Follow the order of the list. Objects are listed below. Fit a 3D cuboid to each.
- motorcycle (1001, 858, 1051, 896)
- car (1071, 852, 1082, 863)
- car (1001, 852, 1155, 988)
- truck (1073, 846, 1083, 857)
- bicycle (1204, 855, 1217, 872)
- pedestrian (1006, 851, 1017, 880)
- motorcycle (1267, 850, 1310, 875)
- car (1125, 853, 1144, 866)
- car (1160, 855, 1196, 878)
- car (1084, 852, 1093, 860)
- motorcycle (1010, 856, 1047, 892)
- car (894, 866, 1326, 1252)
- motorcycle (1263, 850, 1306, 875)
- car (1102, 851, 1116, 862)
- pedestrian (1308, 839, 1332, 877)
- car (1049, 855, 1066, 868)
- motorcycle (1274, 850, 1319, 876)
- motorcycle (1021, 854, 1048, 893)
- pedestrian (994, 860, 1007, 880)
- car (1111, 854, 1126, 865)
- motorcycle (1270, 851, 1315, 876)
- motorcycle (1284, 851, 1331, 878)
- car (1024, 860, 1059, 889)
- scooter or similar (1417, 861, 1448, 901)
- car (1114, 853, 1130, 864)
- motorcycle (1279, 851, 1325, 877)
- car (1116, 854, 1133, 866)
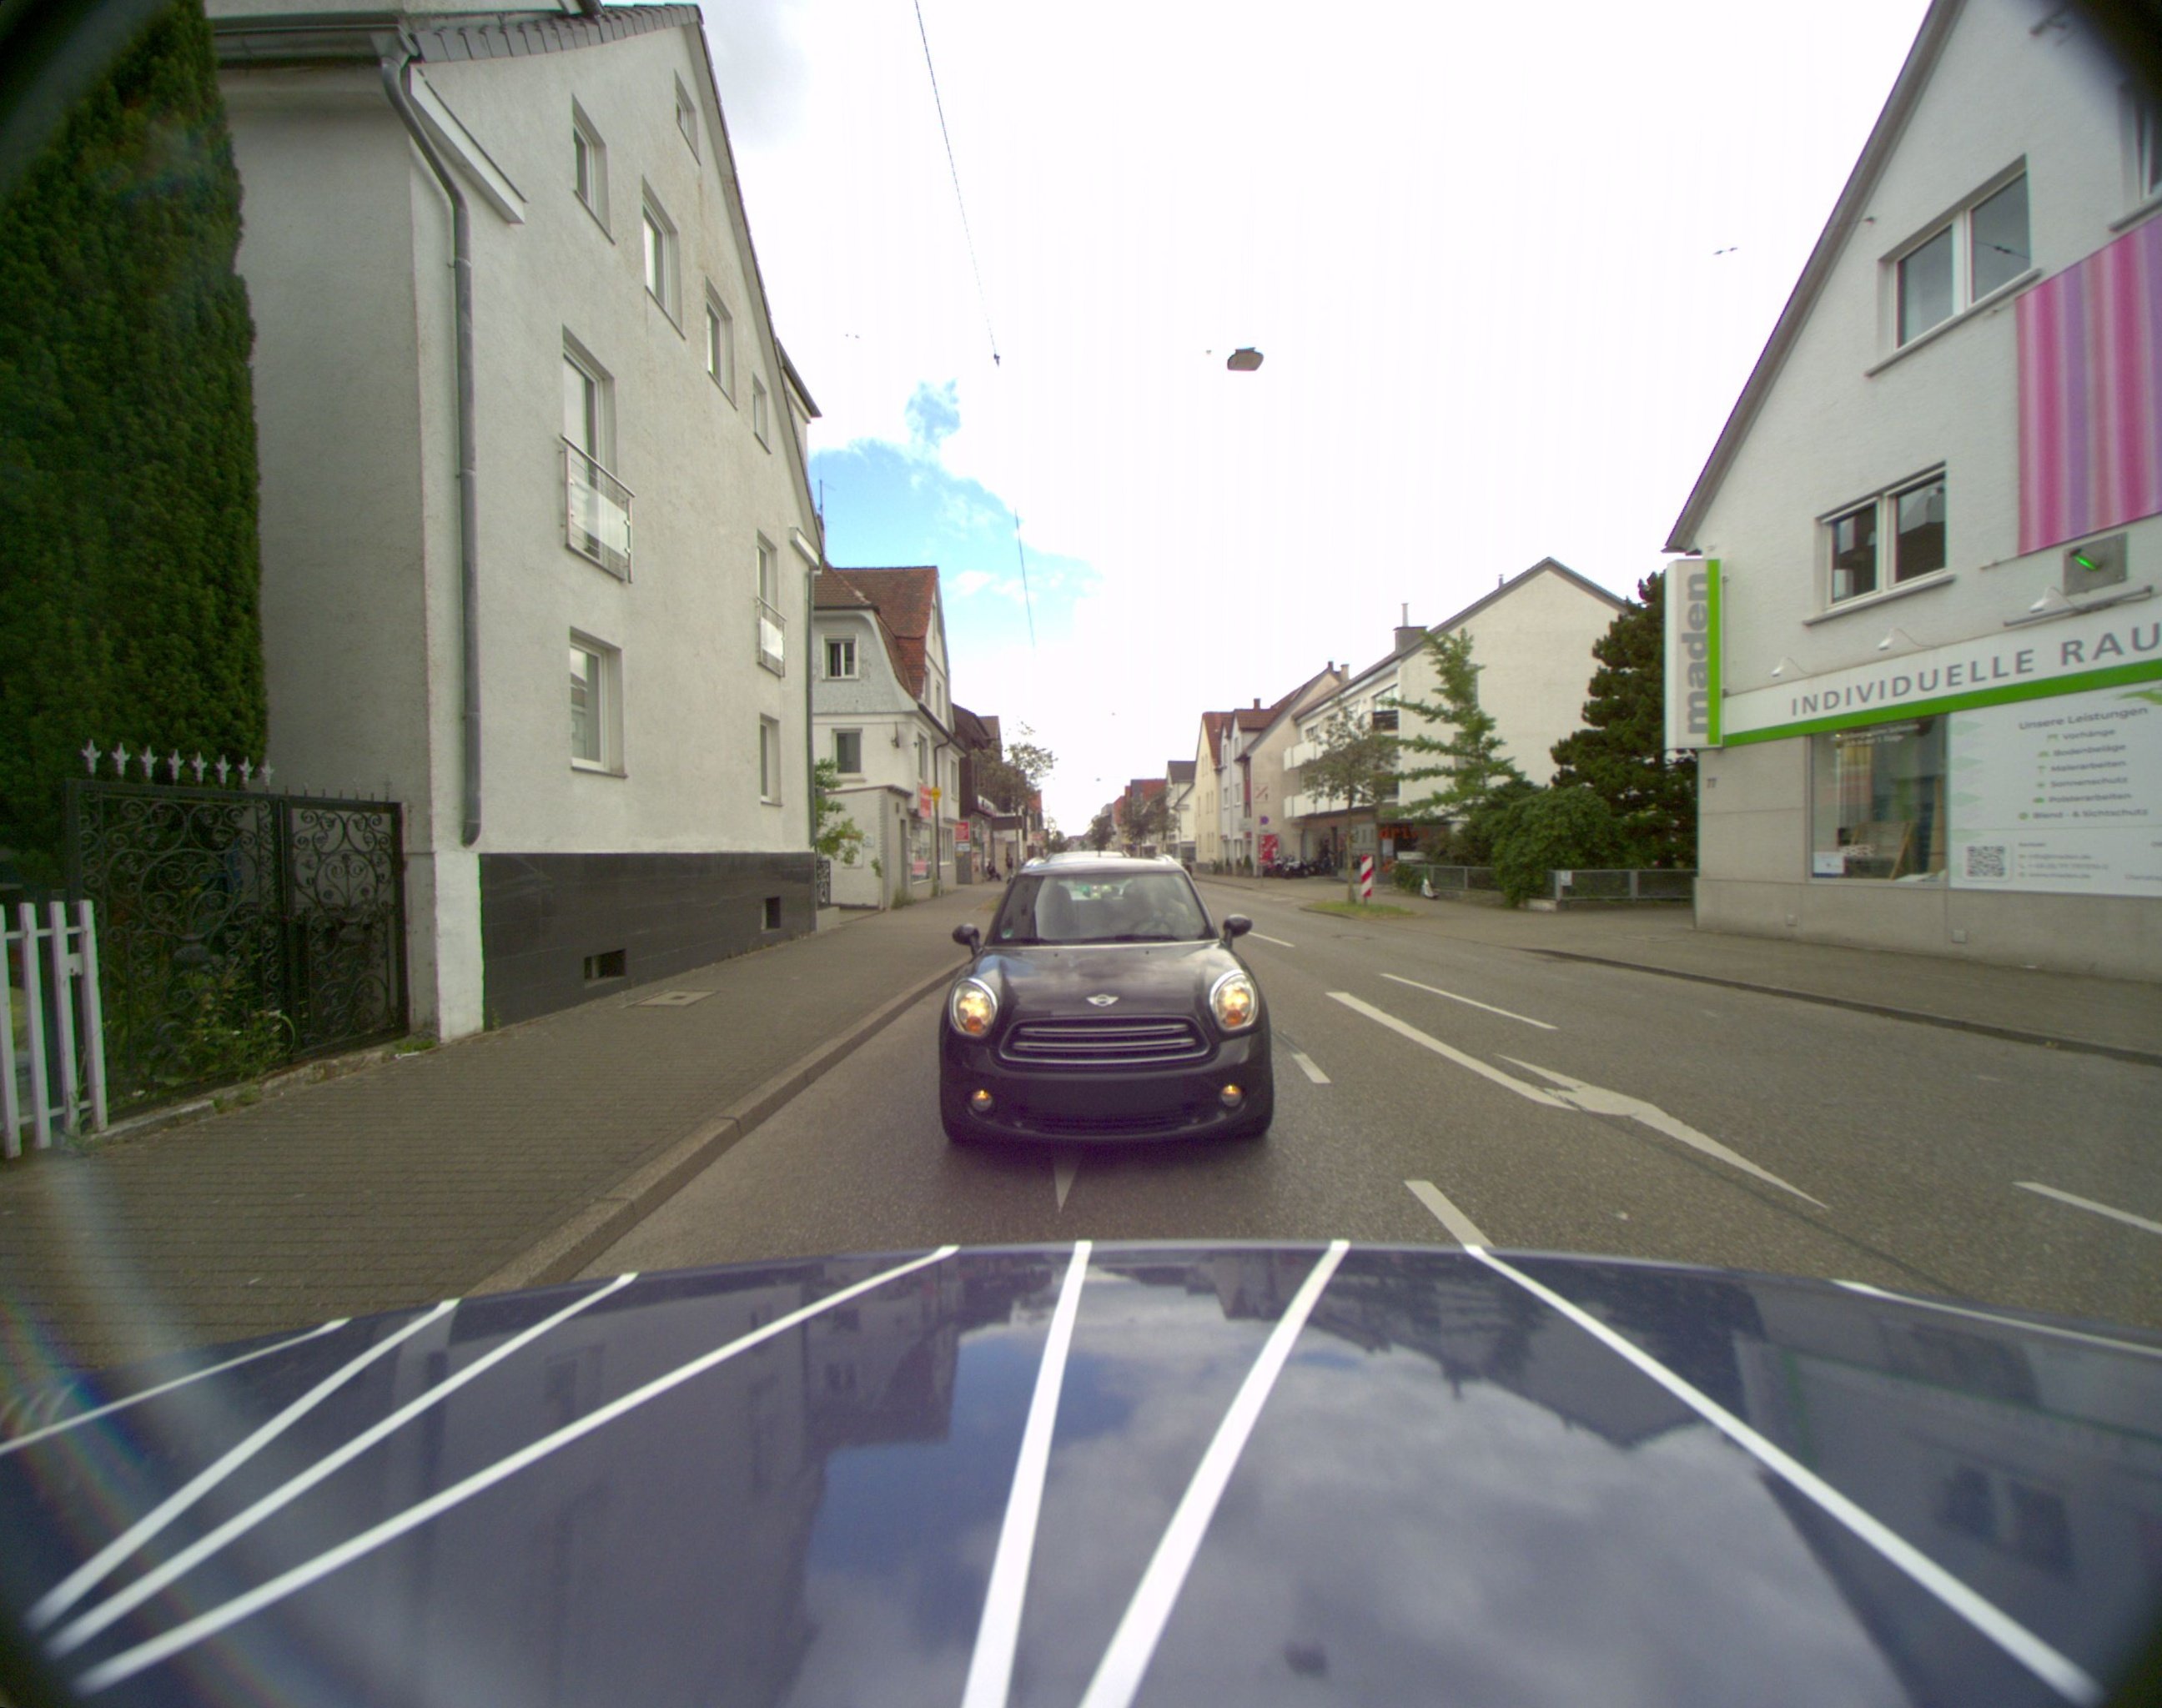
[{"bbox_3d":[-2.130,0.881,29.327,0.777,1.373,2.237,-2,1,-37],"label":"motorcycle"},{"bbox_3d":[-0.817,0.576,146.670,2.059,2.002,4.186,-2,0,-1],"label":"car"},{"bbox_3d":[-0.018,0.807,11.766,1.855,1.615,4.736,-2,0,0],"label":"car"},{"bbox_3d":[-0.874,-0.651,219.282,2.800,3.020,8.250,-2,0,0],"label":"truck"},{"bbox_3d":[9.422,0.682,55.477,0.515,1.189,2.023,-2,1,-1],"label":"bicycle"},{"bbox_3d":[-4.220,0.682,46.010,0.644,1.730,0.742,0,1,-6],"label":"pedestrian"},{"bbox_3d":[11.783,0.495,43.240,2.231,1.258,0.613,-4,1,-2],"label":"motorcycle"},{"bbox_3d":[6.024,0.633,86.511,1.716,1.389,3.899,-2,0,-2],"label":"car"},{"bbox_3d":[6.449,0.797,51.133,1.792,1.409,4.340,0,0,-1],"label":"car"},{"bbox_3d":[1.871,0.447,193.004,1.855,1.932,4.489,1,0,-2],"label":"car"},{"bbox_3d":[-2.248,0.832,32.931,0.648,1.432,2.472,-1,1,19],"label":"motorcycle"},{"bbox_3d":[0.057,0.929,5.700,1.855,1.527,4.735,-2,0,-2],"label":"car"},{"bbox_3d":[11.760,0.491,43.977,2.231,1.258,0.613,-4,1,-2],"label":"motorcycle"},{"bbox_3d":[4.609,0.367,124.517,1.999,1.772,3.999,-2,0,0],"label":"car"},{"bbox_3d":[12.189,0.196,38.794,0.753,1.838,1.019,-5,1,0],"label":"pedestrian"},{"bbox_3d":[-2.608,0.829,85.521,1.794,1.356,3.948,1,0,0],"label":"car"},{"bbox_3d":[11.845,0.503,41.698,2.231,1.258,0.613,-4,1,-2],"label":"motorcycle"},{"bbox_3d":[-1.917,0.794,31.826,0.672,1.516,2.599,-2,1,6],"label":"motorcycle"},{"bbox_3d":[-4.942,0.991,46.829,0.742,1.204,0.644,0,1,-1],"label":"pedestrian"},{"bbox_3d":[5.277,0.780,107.797,1.716,1.389,3.899,-2,0,-2],"label":"car"},{"bbox_3d":[11.816,0.541,42.470,2.231,1.258,0.699,-4,1,-2],"label":"motorcycle"},{"bbox_3d":[11.916,0.564,39.989,2.231,1.258,0.613,-4,1,-2],"label":"motorcycle"},{"bbox_3d":[-2.184,1.125,43.228,1.830,1.400,4.564,-2,0,-1],"label":"car"},{"bbox_3d":[10.370,0.788,22.437,0.340,1.105,1.180,-2,1,0],"label":"scooter or similar"},{"bbox_3d":[5.484,0.594,102.151,1.716,1.389,3.899,-2,0,-2],"label":"car"},{"bbox_3d":[11.896,0.546,40.870,2.231,1.258,0.613,-4,1,-2],"label":"motorcycle"},{"bbox_3d":[5.563,0.751,97.164,1.716,1.389,3.899,-2,0,-2],"label":"car"}]
